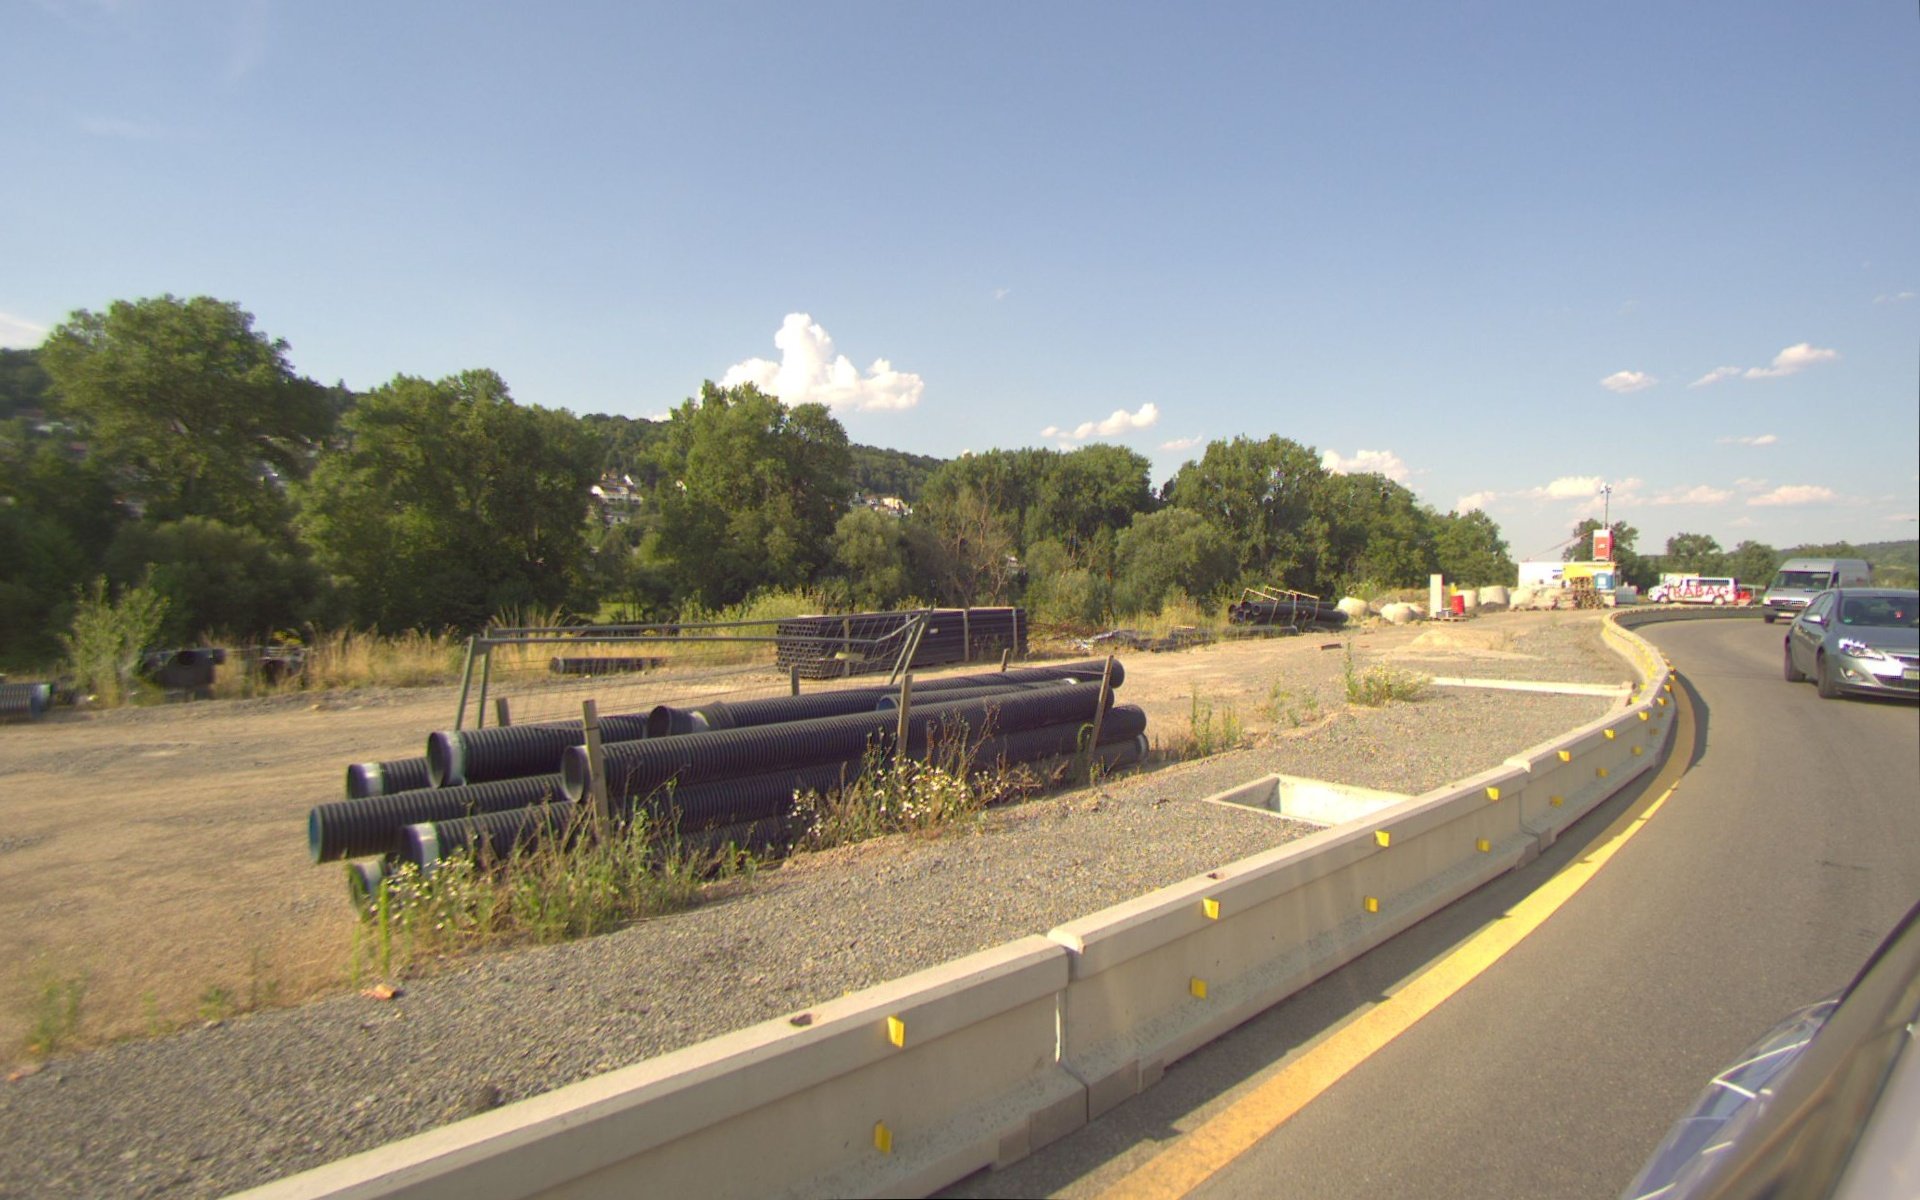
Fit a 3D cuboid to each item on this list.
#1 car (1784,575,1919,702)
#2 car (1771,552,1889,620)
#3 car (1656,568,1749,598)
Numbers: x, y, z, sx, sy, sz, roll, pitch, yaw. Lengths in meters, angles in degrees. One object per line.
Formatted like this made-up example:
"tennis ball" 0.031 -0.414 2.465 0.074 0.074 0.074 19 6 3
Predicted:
"car" 12.776 0.427 13.828 1.735 1.503 4.205 2 2 31
"car" 34.419 -0.589 39.975 5.684 2.532 1.919 -1 2 -32
"car" 54.178 -1.269 74.013 5.282 2.104 2.458 1 2 34
